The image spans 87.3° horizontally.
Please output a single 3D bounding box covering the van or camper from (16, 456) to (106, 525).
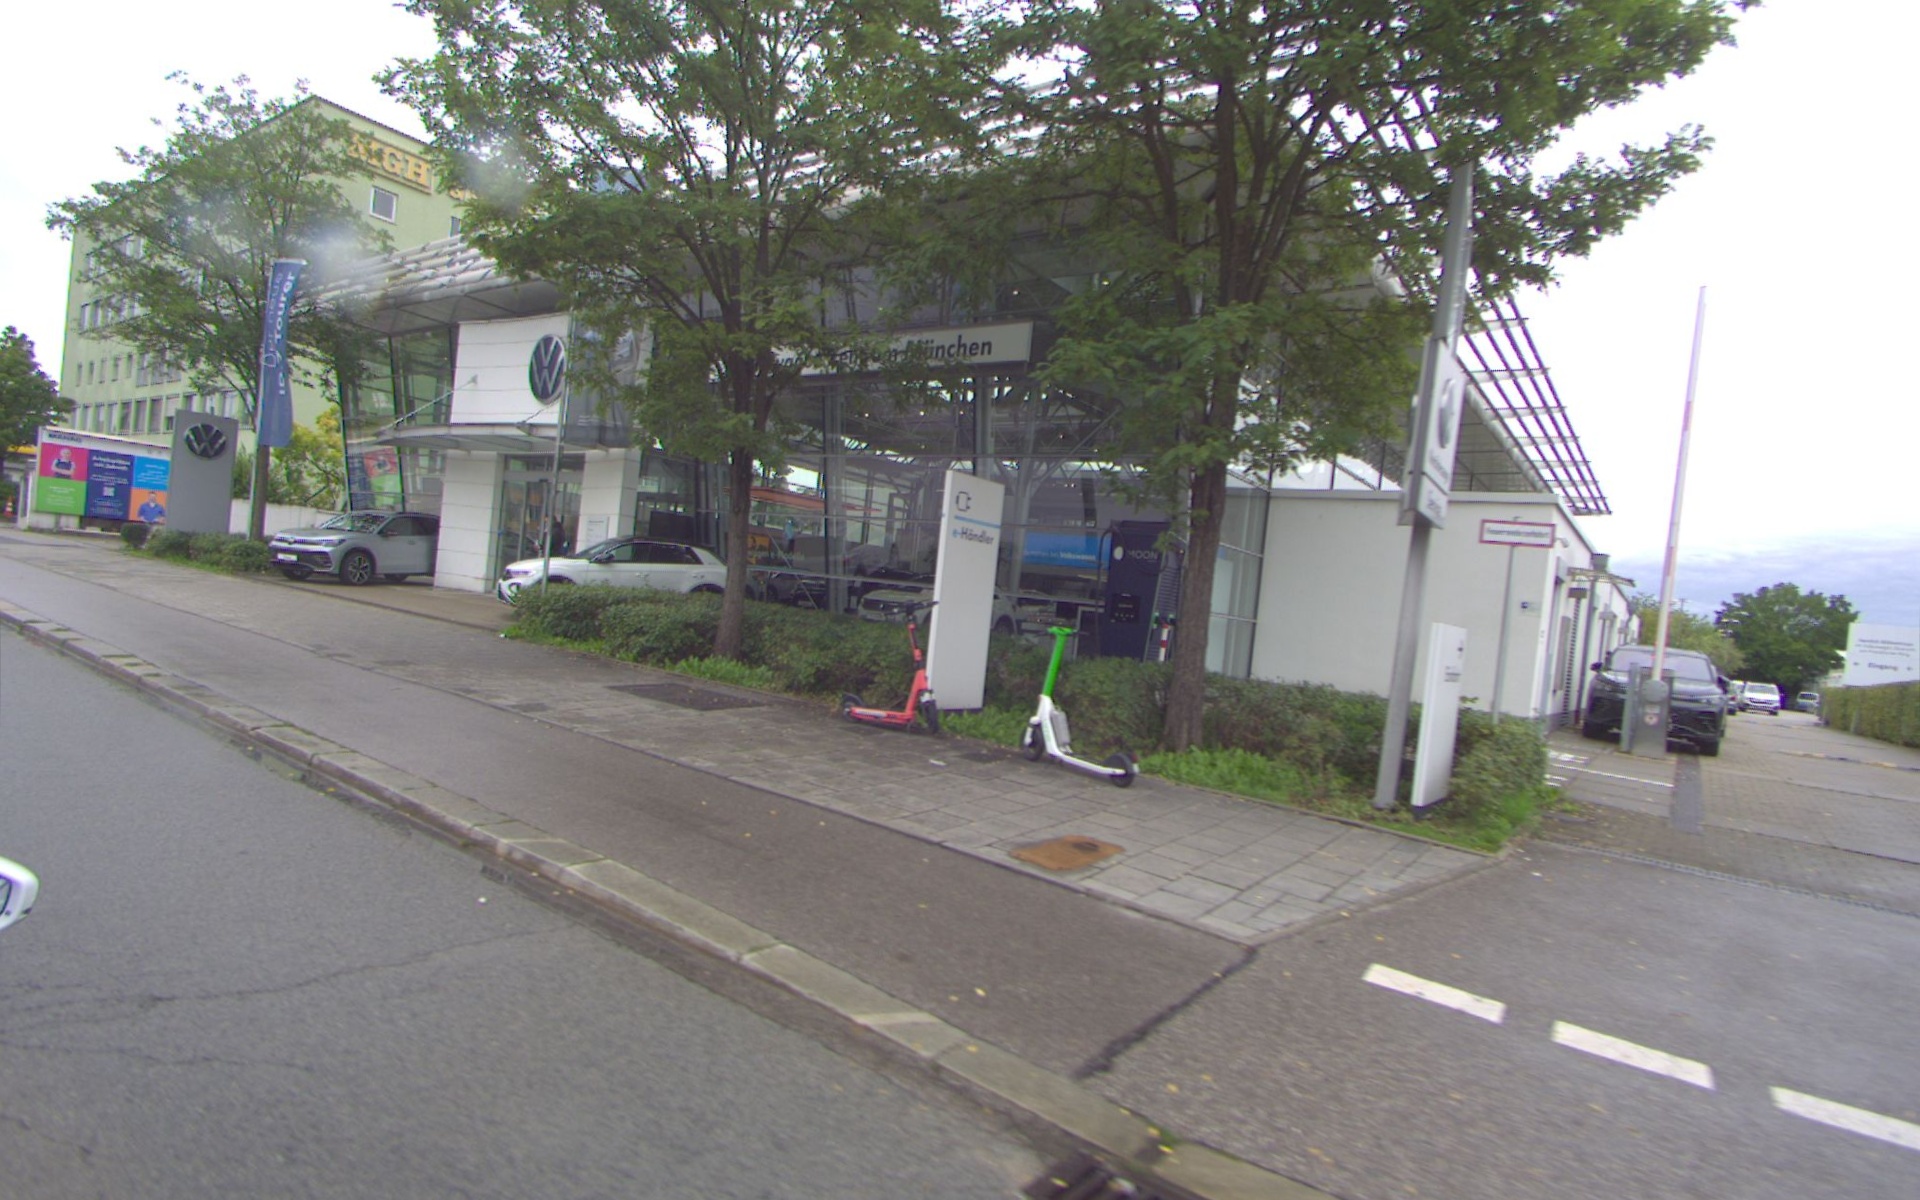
[{"bbox_3d":[-39.553,-4.801,44.155,7.287,2.528,2.120,7,0,43],"label":"van or camper"}]

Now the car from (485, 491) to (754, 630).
[{"bbox_3d":[-6.087,-0.647,18.061,4.210,2.040,1.948,4,2,-29],"label":"car"}]

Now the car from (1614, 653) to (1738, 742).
[{"bbox_3d":[15.479,2.023,21.795,1.851,1.492,4.262,8,2,36],"label":"car"}]

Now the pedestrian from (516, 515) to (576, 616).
[{"bbox_3d":[-7.828,-0.632,19.053,0.704,1.799,0.805,6,1,-8],"label":"pedestrian"}]

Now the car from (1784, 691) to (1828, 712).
[{"bbox_3d":[80.391,9.644,95.576,4.233,1.601,1.845,7,0,-32],"label":"car"}]

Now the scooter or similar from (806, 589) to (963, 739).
[{"bbox_3d":[-0.741,0.578,9.638,1.407,1.222,0.495,8,5,34],"label":"scooter or similar"}]

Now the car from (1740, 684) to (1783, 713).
[{"bbox_3d":[52.468,6.428,65.881,1.831,1.601,4.264,7,0,36],"label":"car"}]

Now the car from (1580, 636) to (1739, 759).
[{"bbox_3d":[11.893,1.563,17.121,1.831,1.602,4.262,8,2,36],"label":"car"}]

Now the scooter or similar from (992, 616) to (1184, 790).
[{"bbox_3d":[1.044,0.805,8.324,1.405,1.221,0.496,6,4,27],"label":"scooter or similar"}]

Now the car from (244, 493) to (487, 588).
[{"bbox_3d":[-13.308,-1.264,22.907,1.969,1.729,4.601,5,1,16],"label":"car"}]
